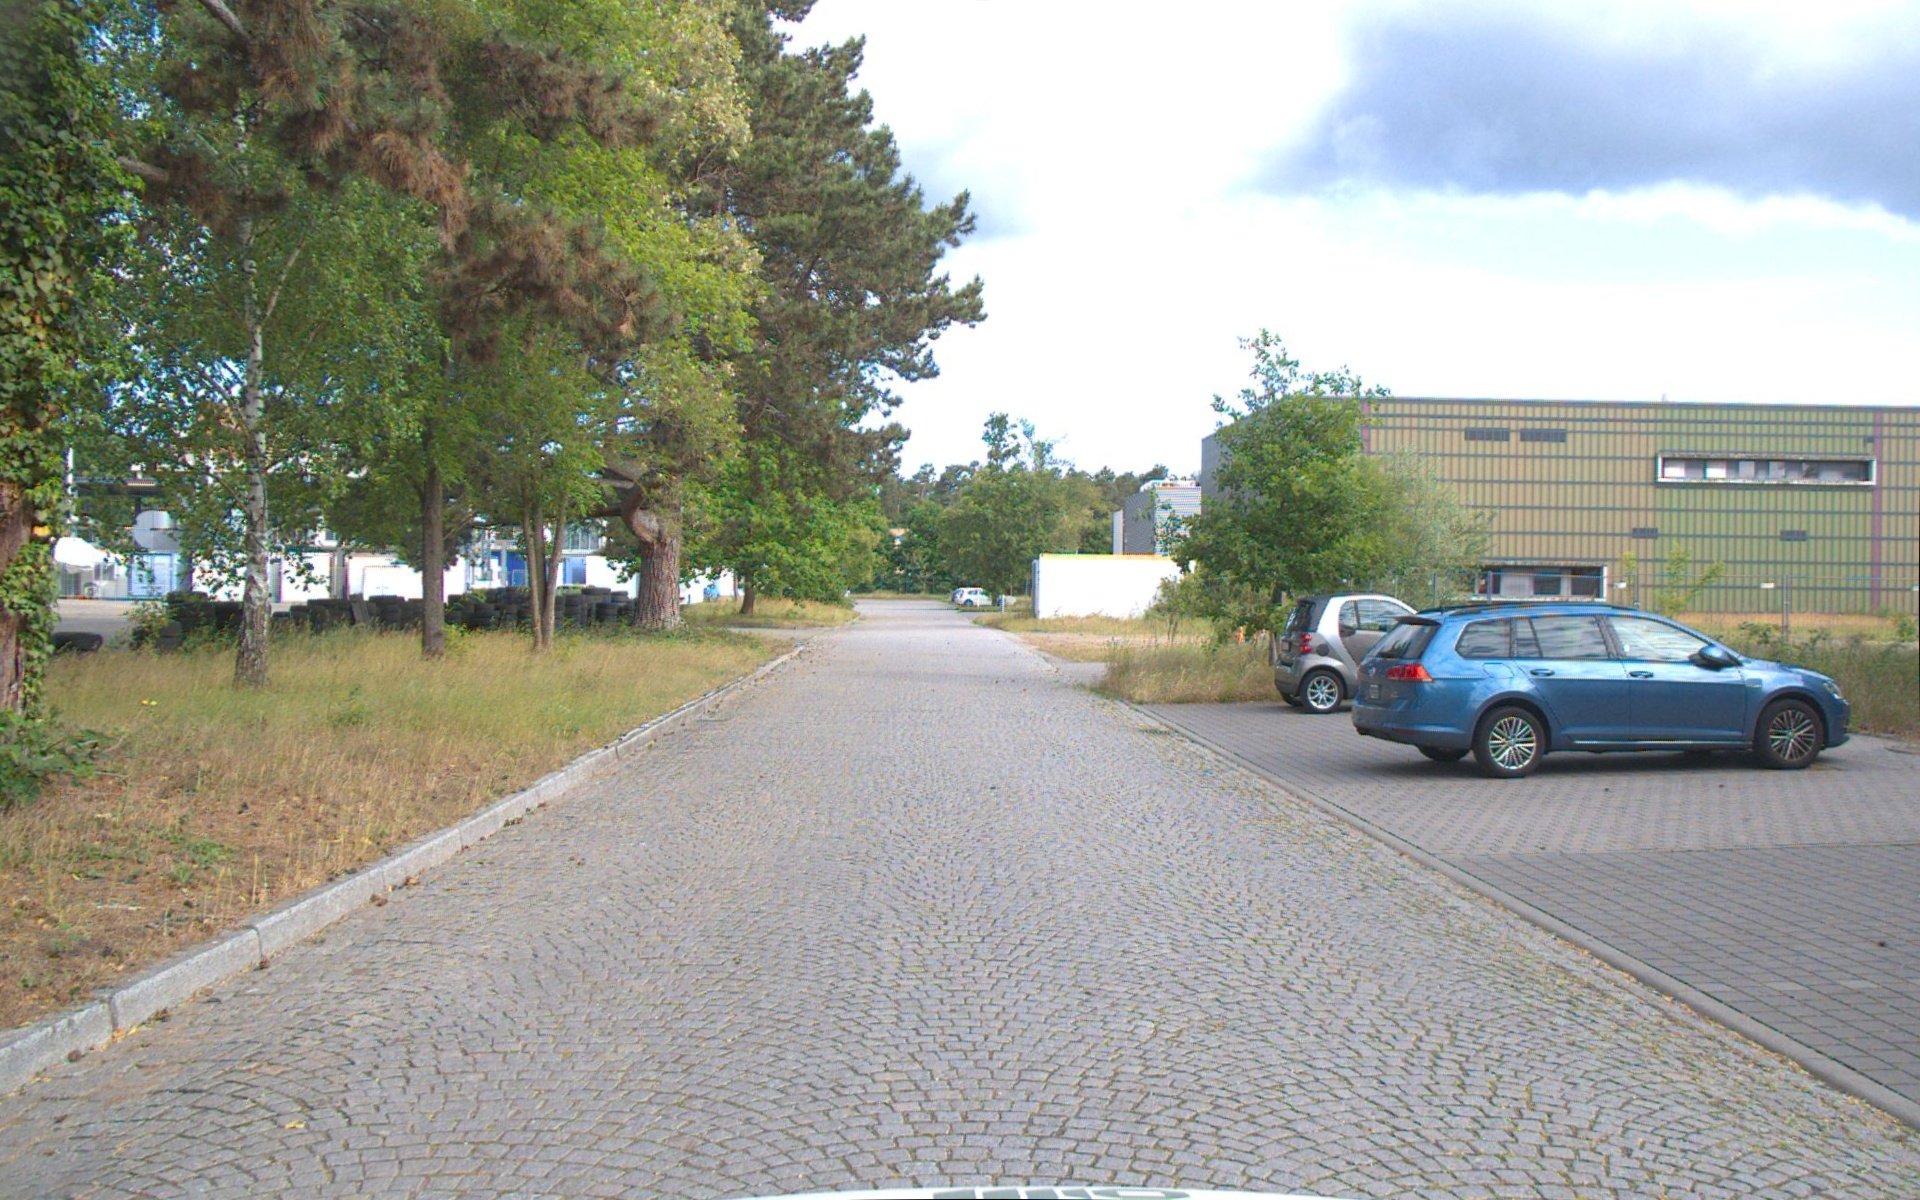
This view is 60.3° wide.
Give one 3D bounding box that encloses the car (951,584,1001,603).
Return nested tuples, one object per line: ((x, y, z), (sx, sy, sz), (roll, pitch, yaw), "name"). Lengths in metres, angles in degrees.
((1.271, -0.517, 132.104), (3.906, 1.481, 1.697), (0, 0, -2), "car")

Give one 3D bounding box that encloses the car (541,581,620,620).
((-14.572, 0.000, 63.721), (1.785, 1.456, 4.221), (1, 0, 4), "car")

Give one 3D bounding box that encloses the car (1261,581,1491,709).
((5.662, 0.578, 22.723), (2.686, 1.609, 1.682), (-2, 1, -2), "car")

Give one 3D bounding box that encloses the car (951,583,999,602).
((1.224, -0.600, 135.144), (3.906, 1.481, 1.769), (0, 0, -2), "car")

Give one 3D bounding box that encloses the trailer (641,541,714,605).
((-17.276, -1.615, 101.894), (2.602, 3.770, 10.722), (0, 0, 0), "trailer")

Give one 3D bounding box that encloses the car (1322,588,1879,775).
((5.846, 0.699, 15.439), (4.436, 1.475, 1.930), (-2, 1, -4), "car")

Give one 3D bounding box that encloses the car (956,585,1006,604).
((1.633, -0.425, 129.948), (3.906, 1.481, 1.999), (1, 0, -2), "car")

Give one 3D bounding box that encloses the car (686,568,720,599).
((-21.940, -1.390, 141.422), (1.952, 2.567, 5.619), (0, 0, 1), "car")
